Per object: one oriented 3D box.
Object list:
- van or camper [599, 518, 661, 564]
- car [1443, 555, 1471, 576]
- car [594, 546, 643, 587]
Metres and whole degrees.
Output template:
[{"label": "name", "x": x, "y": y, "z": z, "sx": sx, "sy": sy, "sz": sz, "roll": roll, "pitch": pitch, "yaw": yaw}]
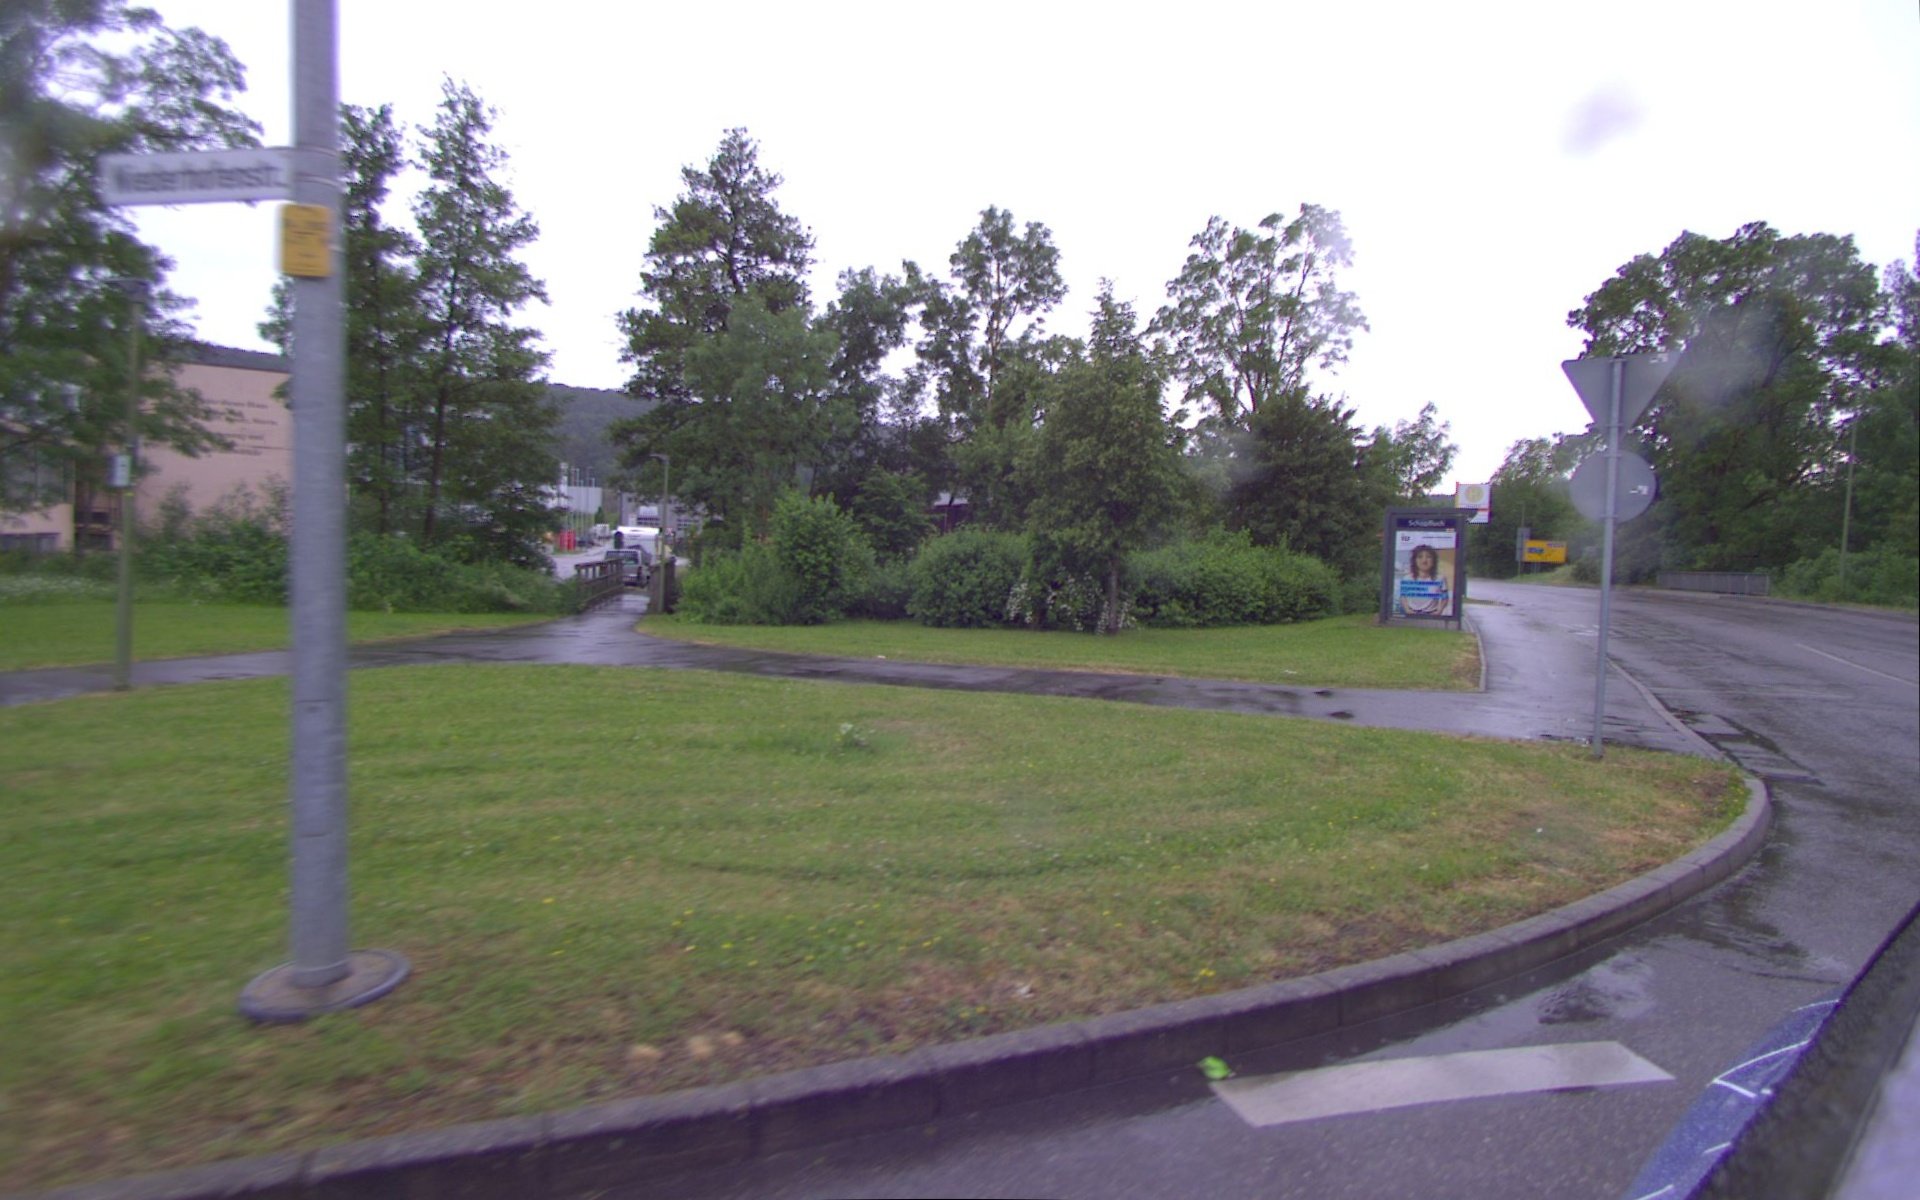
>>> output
[{"label": "van or camper", "x": -18.037, "y": -3.243, "z": 55.581, "sx": 2.490, "sy": 2.271, "sz": 5.991, "roll": 3, "pitch": 3, "yaw": -11}, {"label": "car", "x": 38.038, "y": -2.623, "z": 77.551, "sx": 1.838, "sy": 1.508, "sz": 4.085, "roll": 3, "pitch": 3, "yaw": 26}, {"label": "car", "x": -15.509, "y": -1.567, "z": 46.088, "sx": 1.958, "sy": 1.734, "sz": 4.011, "roll": 0, "pitch": 3, "yaw": -17}]
